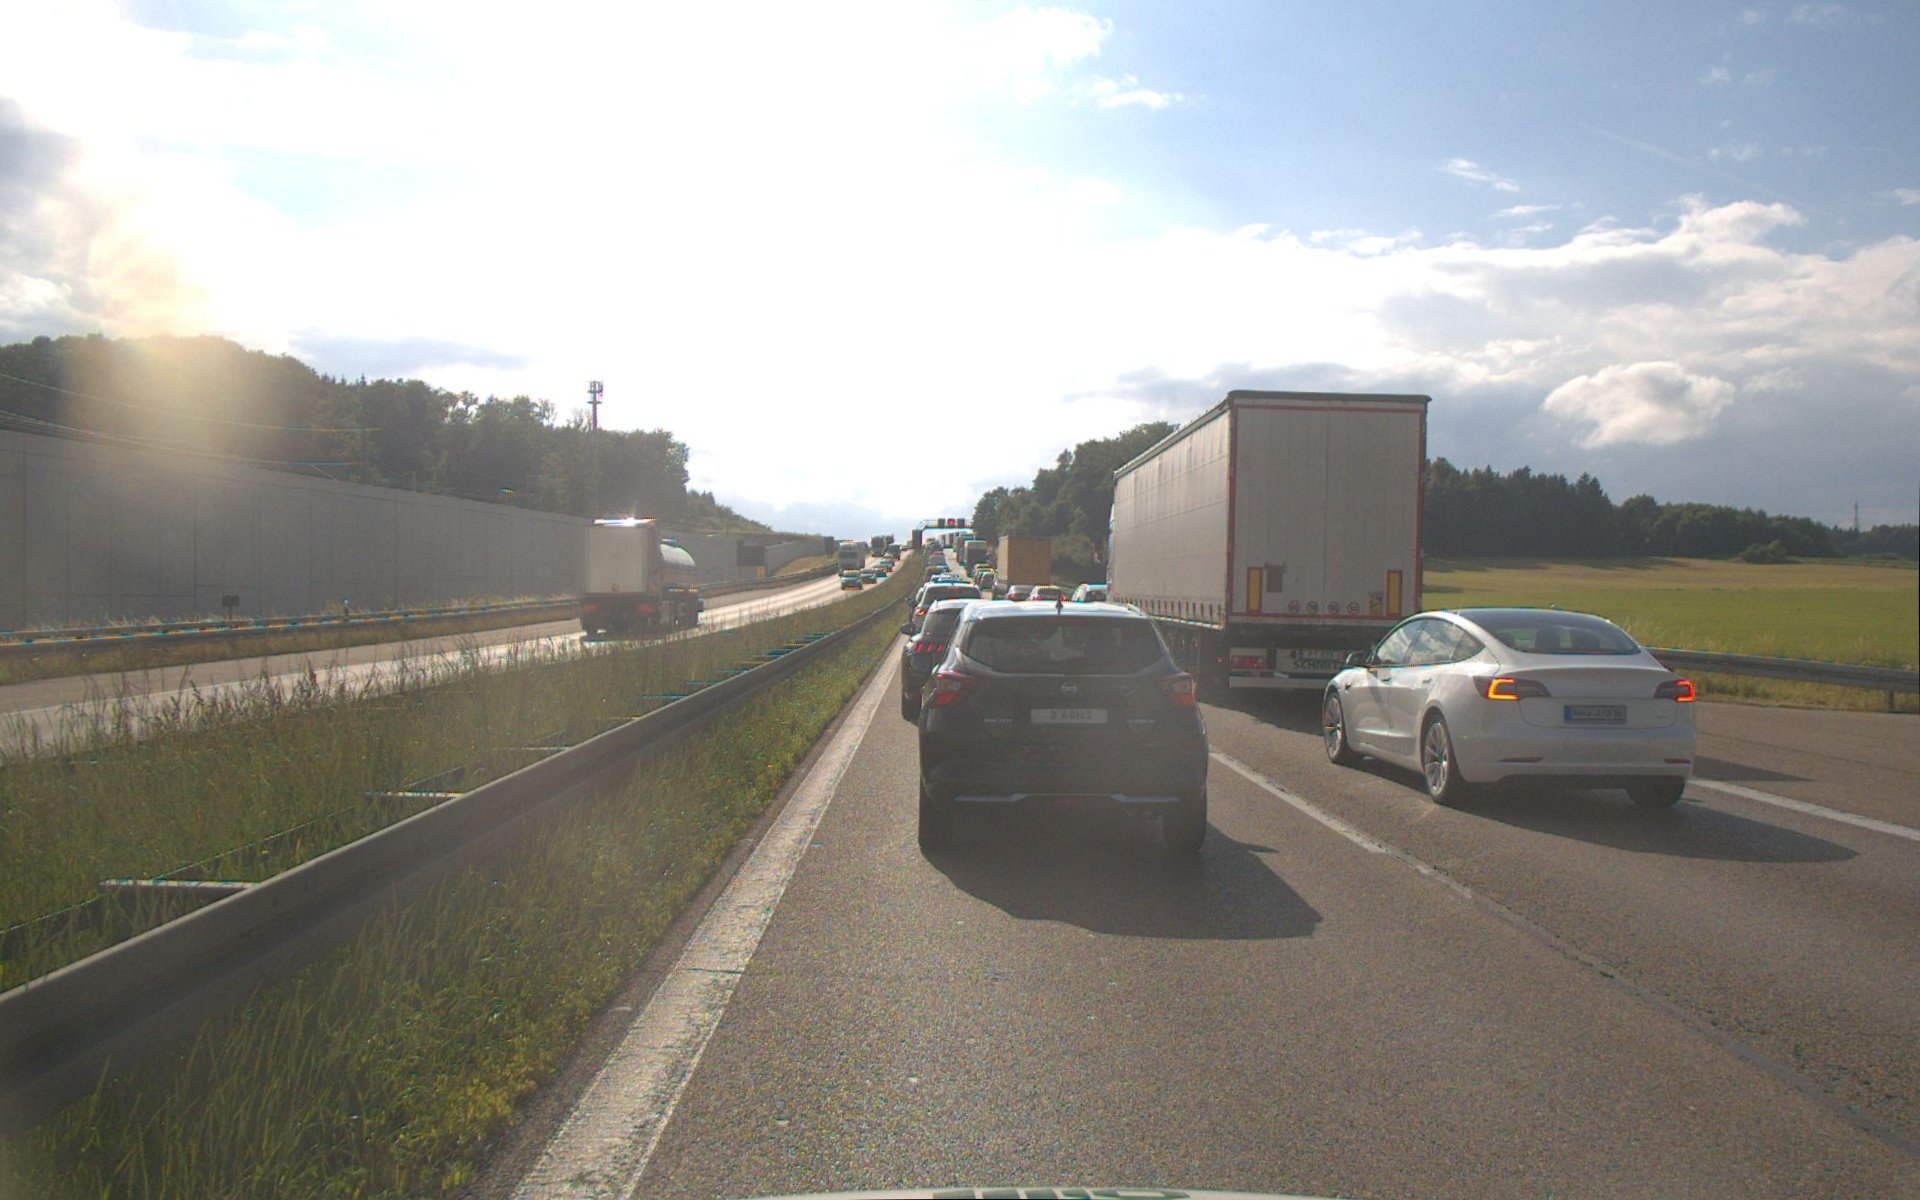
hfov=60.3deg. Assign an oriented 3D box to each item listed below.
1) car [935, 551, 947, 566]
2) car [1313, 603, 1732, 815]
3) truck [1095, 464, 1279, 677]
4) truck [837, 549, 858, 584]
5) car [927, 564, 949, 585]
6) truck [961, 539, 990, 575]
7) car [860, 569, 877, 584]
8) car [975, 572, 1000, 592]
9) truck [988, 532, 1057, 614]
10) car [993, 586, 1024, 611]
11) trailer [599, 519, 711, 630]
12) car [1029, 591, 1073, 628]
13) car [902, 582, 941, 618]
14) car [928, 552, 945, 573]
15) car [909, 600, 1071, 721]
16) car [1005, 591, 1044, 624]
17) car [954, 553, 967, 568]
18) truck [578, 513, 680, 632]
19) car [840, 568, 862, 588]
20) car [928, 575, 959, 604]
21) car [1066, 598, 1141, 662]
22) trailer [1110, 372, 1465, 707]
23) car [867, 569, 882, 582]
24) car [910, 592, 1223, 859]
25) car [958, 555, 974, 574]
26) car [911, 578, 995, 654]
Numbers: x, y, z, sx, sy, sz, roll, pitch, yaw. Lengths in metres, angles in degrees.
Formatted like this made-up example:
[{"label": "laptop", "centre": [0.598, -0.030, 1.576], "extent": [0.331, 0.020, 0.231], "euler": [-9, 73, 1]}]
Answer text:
[{"label": "car", "centre": [-2.888, -6.280, 251.594], "extent": [1.835, 2.196, 5.211], "euler": [0, 3, -1]}, {"label": "car", "centre": [4.345, 0.756, 13.580], "extent": [1.753, 1.418, 4.434], "euler": [0, 0, -3]}, {"label": "truck", "centre": [4.599, -0.542, 34.574], "extent": [3.069, 4.086, 5.163], "euler": [1, -1, 0]}, {"label": "truck", "centre": [-13.975, -4.102, 205.459], "extent": [2.332, 4.254, 5.931], "euler": [0, 0, -1]}, {"label": "car", "centre": [-1.912, -2.191, 141.110], "extent": [1.835, 1.673, 4.231], "euler": [0, 2, -2]}, {"label": "truck", "centre": [2.080, -5.875, 225.842], "extent": [3.395, 4.656, 12.437], "euler": [1, 1, -2]}, {"label": "car", "centre": [-9.489, -2.401, 171.897], "extent": [1.663, 1.525, 4.426], "euler": [0, 0, -1]}, {"label": "car", "centre": [2.341, -1.564, 143.086], "extent": [1.836, 1.673, 4.229], "euler": [0, 2, -4]}, {"label": "truck", "centre": [3.662, -1.496, 100.758], "extent": [3.230, 4.657, 12.434], "euler": [1, -1, -2]}, {"label": "car", "centre": [3.266, -0.135, 111.940], "extent": [1.836, 1.673, 4.230], "euler": [0, 1, -3]}, {"label": "trailer", "centre": [-11.823, -0.913, 65.083], "extent": [2.536, 3.970, 10.862], "euler": [-1, 0, -1]}, {"label": "car", "centre": [4.257, 0.428, 77.894], "extent": [1.835, 1.673, 4.231], "euler": [0, 0, -1]}, {"label": "car", "centre": [-1.858, -0.042, 80.882], "extent": [1.835, 1.673, 4.232], "euler": [0, 1, -1]}, {"label": "car", "centre": [-2.664, -4.204, 184.761], "extent": [1.835, 2.196, 5.211], "euler": [0, 3, -1]}, {"label": "car", "centre": [0.320, 0.691, 20.946], "extent": [1.835, 1.381, 4.231], "euler": [0, 0, -1]}, {"label": "car", "centre": [3.373, 0.388, 87.314], "extent": [1.835, 1.673, 4.232], "euler": [0, 1, -1]}, {"label": "car", "centre": [0.076, -6.101, 255.224], "extent": [1.835, 2.196, 5.211], "euler": [0, 3, -1]}, {"label": "truck", "centre": [-11.709, -0.948, 58.943], "extent": [2.530, 3.991, 5.721], "euler": [-1, 0, -1]}, {"label": "car", "centre": [-9.752, -1.973, 148.736], "extent": [1.744, 1.767, 4.101], "euler": [0, 0, -1]}, {"label": "car", "centre": [-0.971, -0.668, 100.034], "extent": [1.835, 1.673, 4.232], "euler": [0, 2, -1]}, {"label": "car", "centre": [3.815, 0.759, 44.641], "extent": [1.663, 1.639, 4.437], "euler": [0, 0, 0]}, {"label": "trailer", "centre": [4.652, -0.645, 27.078], "extent": [3.067, 4.081, 13.364], "euler": [1, -1, 0]}, {"label": "car", "centre": [-10.343, -2.993, 200.199], "extent": [1.733, 1.505, 3.828], "euler": [0, 0, 0]}, {"label": "car", "centre": [0.569, 0.695, 11.303], "extent": [1.737, 1.476, 4.231], "euler": [0, 0, -1]}, {"label": "car", "centre": [0.729, -4.278, 200.163], "extent": [1.835, 2.196, 5.211], "euler": [0, 3, -1]}, {"label": "car", "centre": [-0.178, 0.364, 38.531], "extent": [1.835, 1.673, 4.231], "euler": [0, 0, -1]}]
